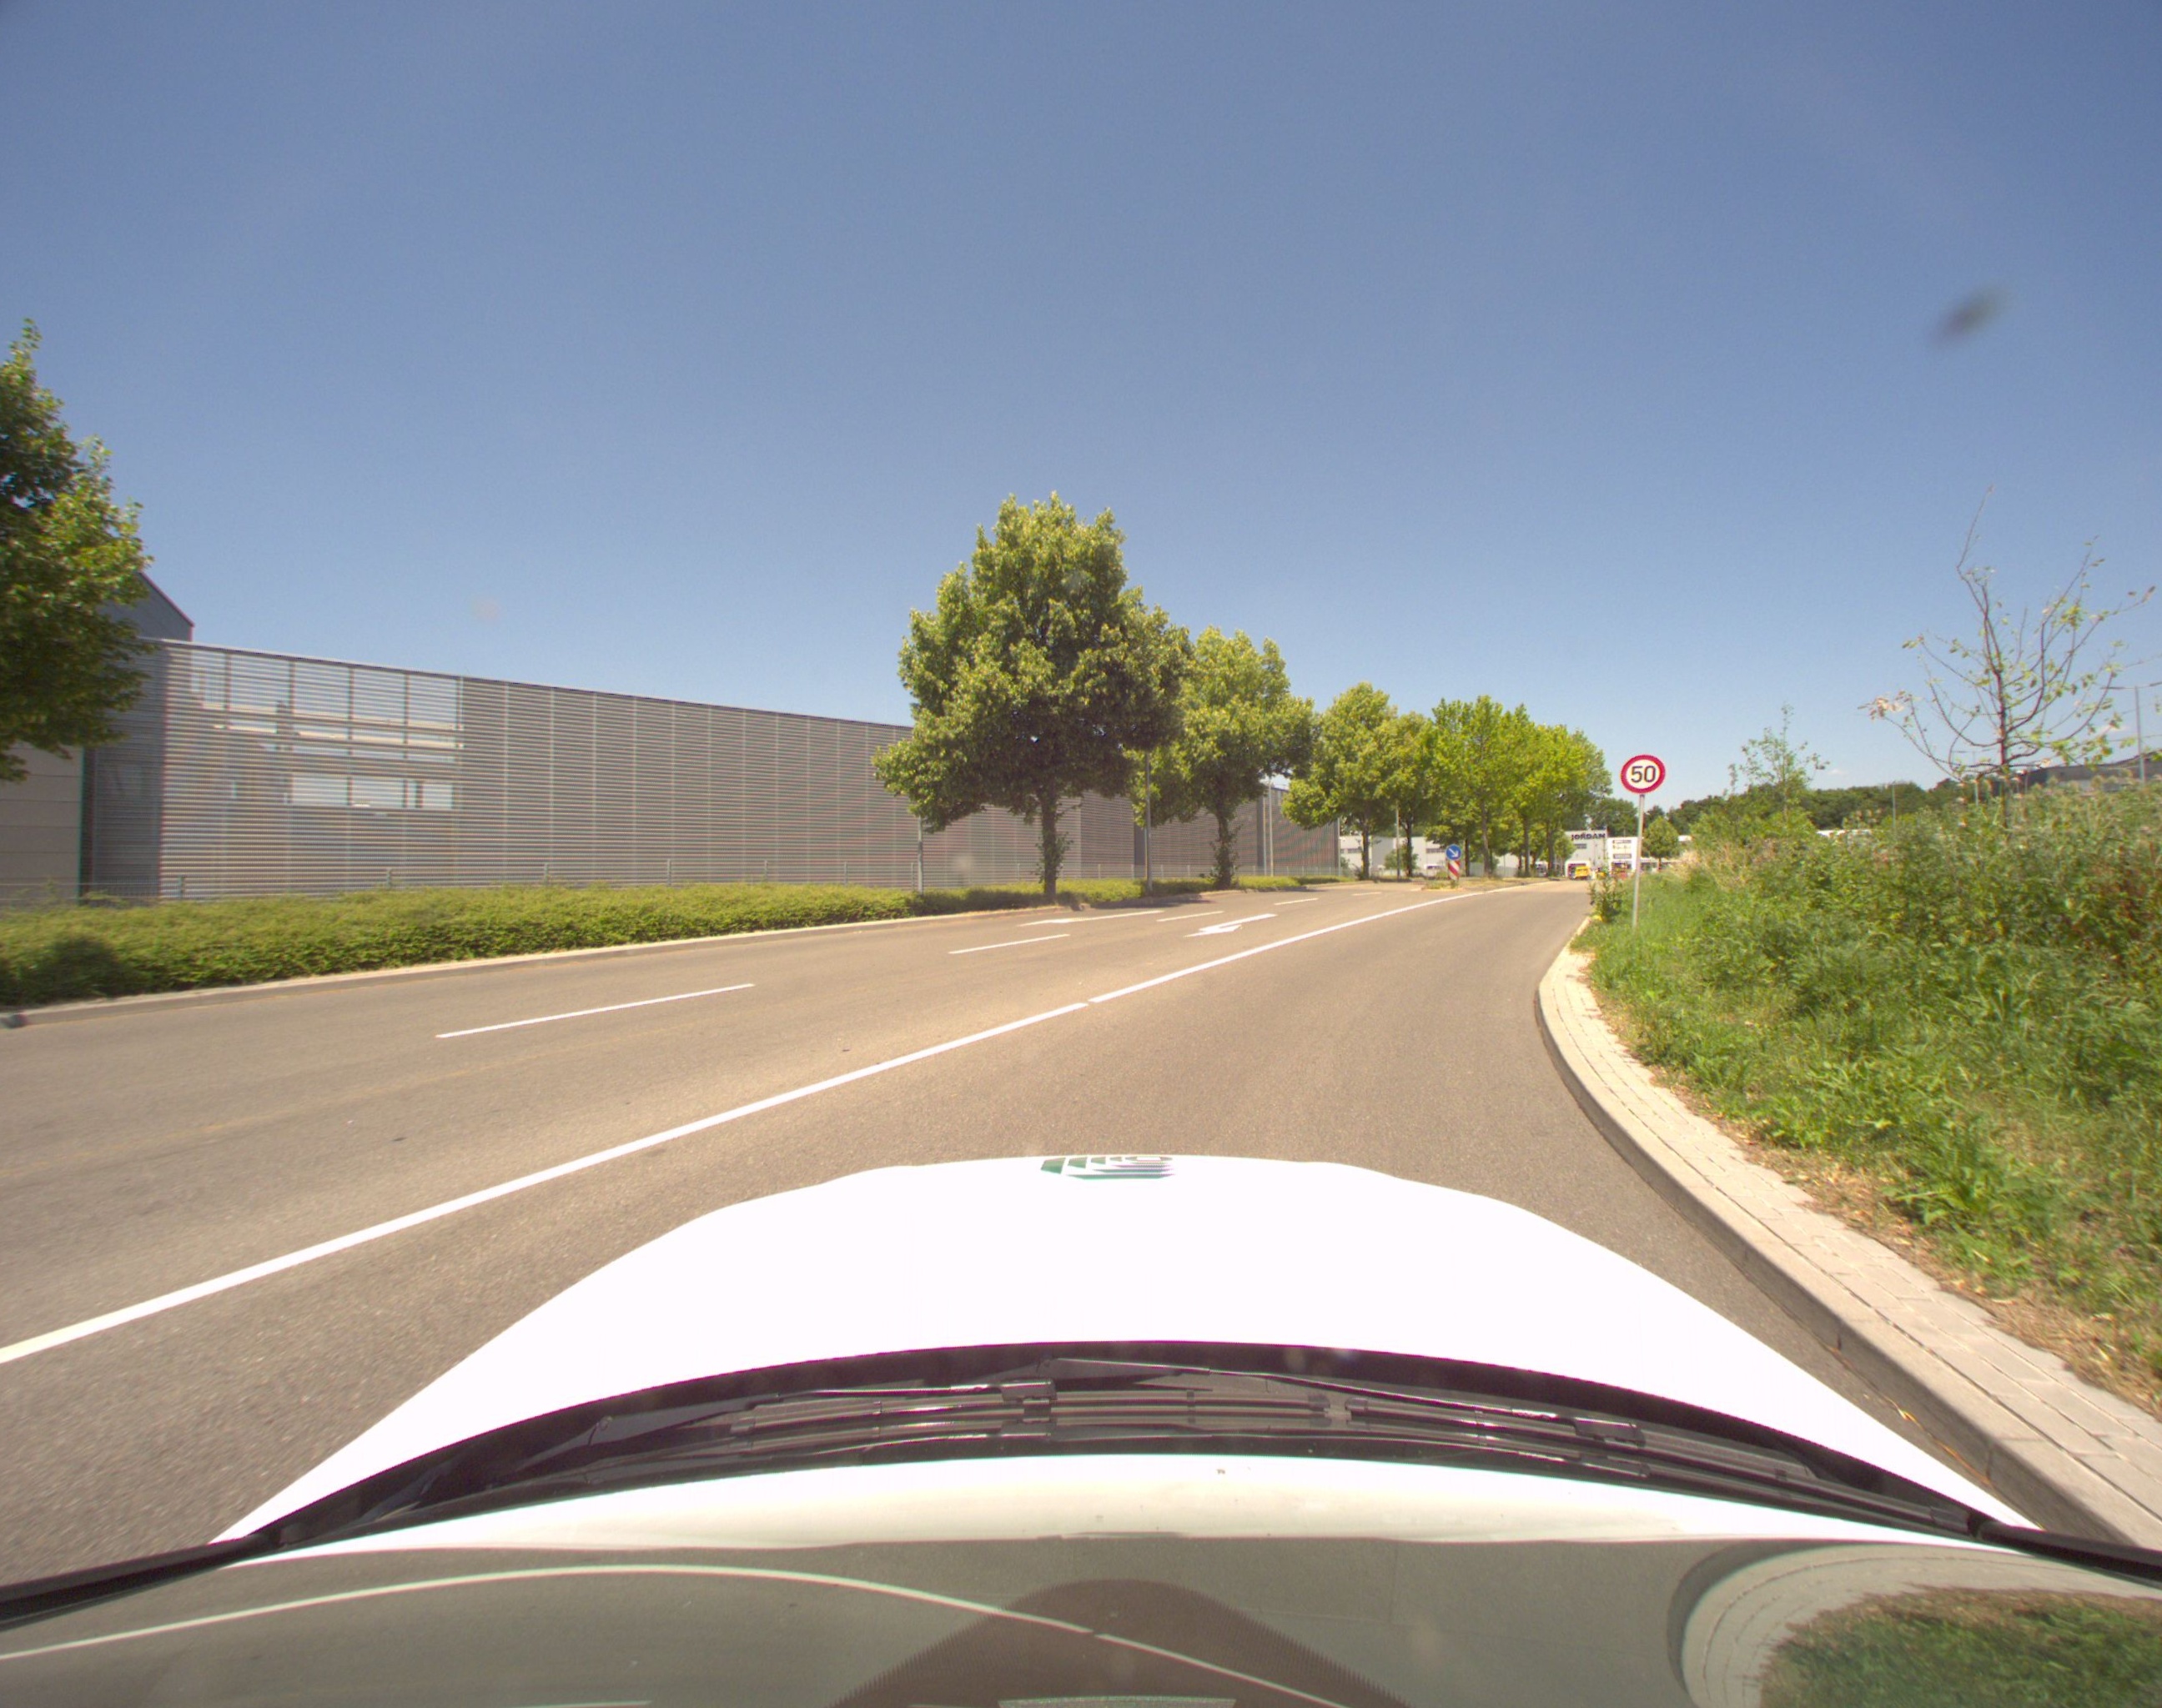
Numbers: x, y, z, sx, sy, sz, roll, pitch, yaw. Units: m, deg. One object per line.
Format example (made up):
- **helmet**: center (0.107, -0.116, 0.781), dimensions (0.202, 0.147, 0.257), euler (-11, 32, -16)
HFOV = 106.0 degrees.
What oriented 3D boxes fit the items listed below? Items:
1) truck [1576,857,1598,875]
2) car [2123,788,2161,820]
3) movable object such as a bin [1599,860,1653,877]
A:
- **truck**: center (93.340, 2.146, 150.306), dimensions (2.911, 2.886, 5.845), euler (-4, 0, 27)
- **car**: center (60.757, -2.855, 44.662), dimensions (3.948, 1.642, 1.939), euler (-3, -3, 36)
- **movable object such as a bin**: center (98.311, 2.594, 146.958), dimensions (7.455, 2.500, 3.688), euler (-4, 0, 44)
